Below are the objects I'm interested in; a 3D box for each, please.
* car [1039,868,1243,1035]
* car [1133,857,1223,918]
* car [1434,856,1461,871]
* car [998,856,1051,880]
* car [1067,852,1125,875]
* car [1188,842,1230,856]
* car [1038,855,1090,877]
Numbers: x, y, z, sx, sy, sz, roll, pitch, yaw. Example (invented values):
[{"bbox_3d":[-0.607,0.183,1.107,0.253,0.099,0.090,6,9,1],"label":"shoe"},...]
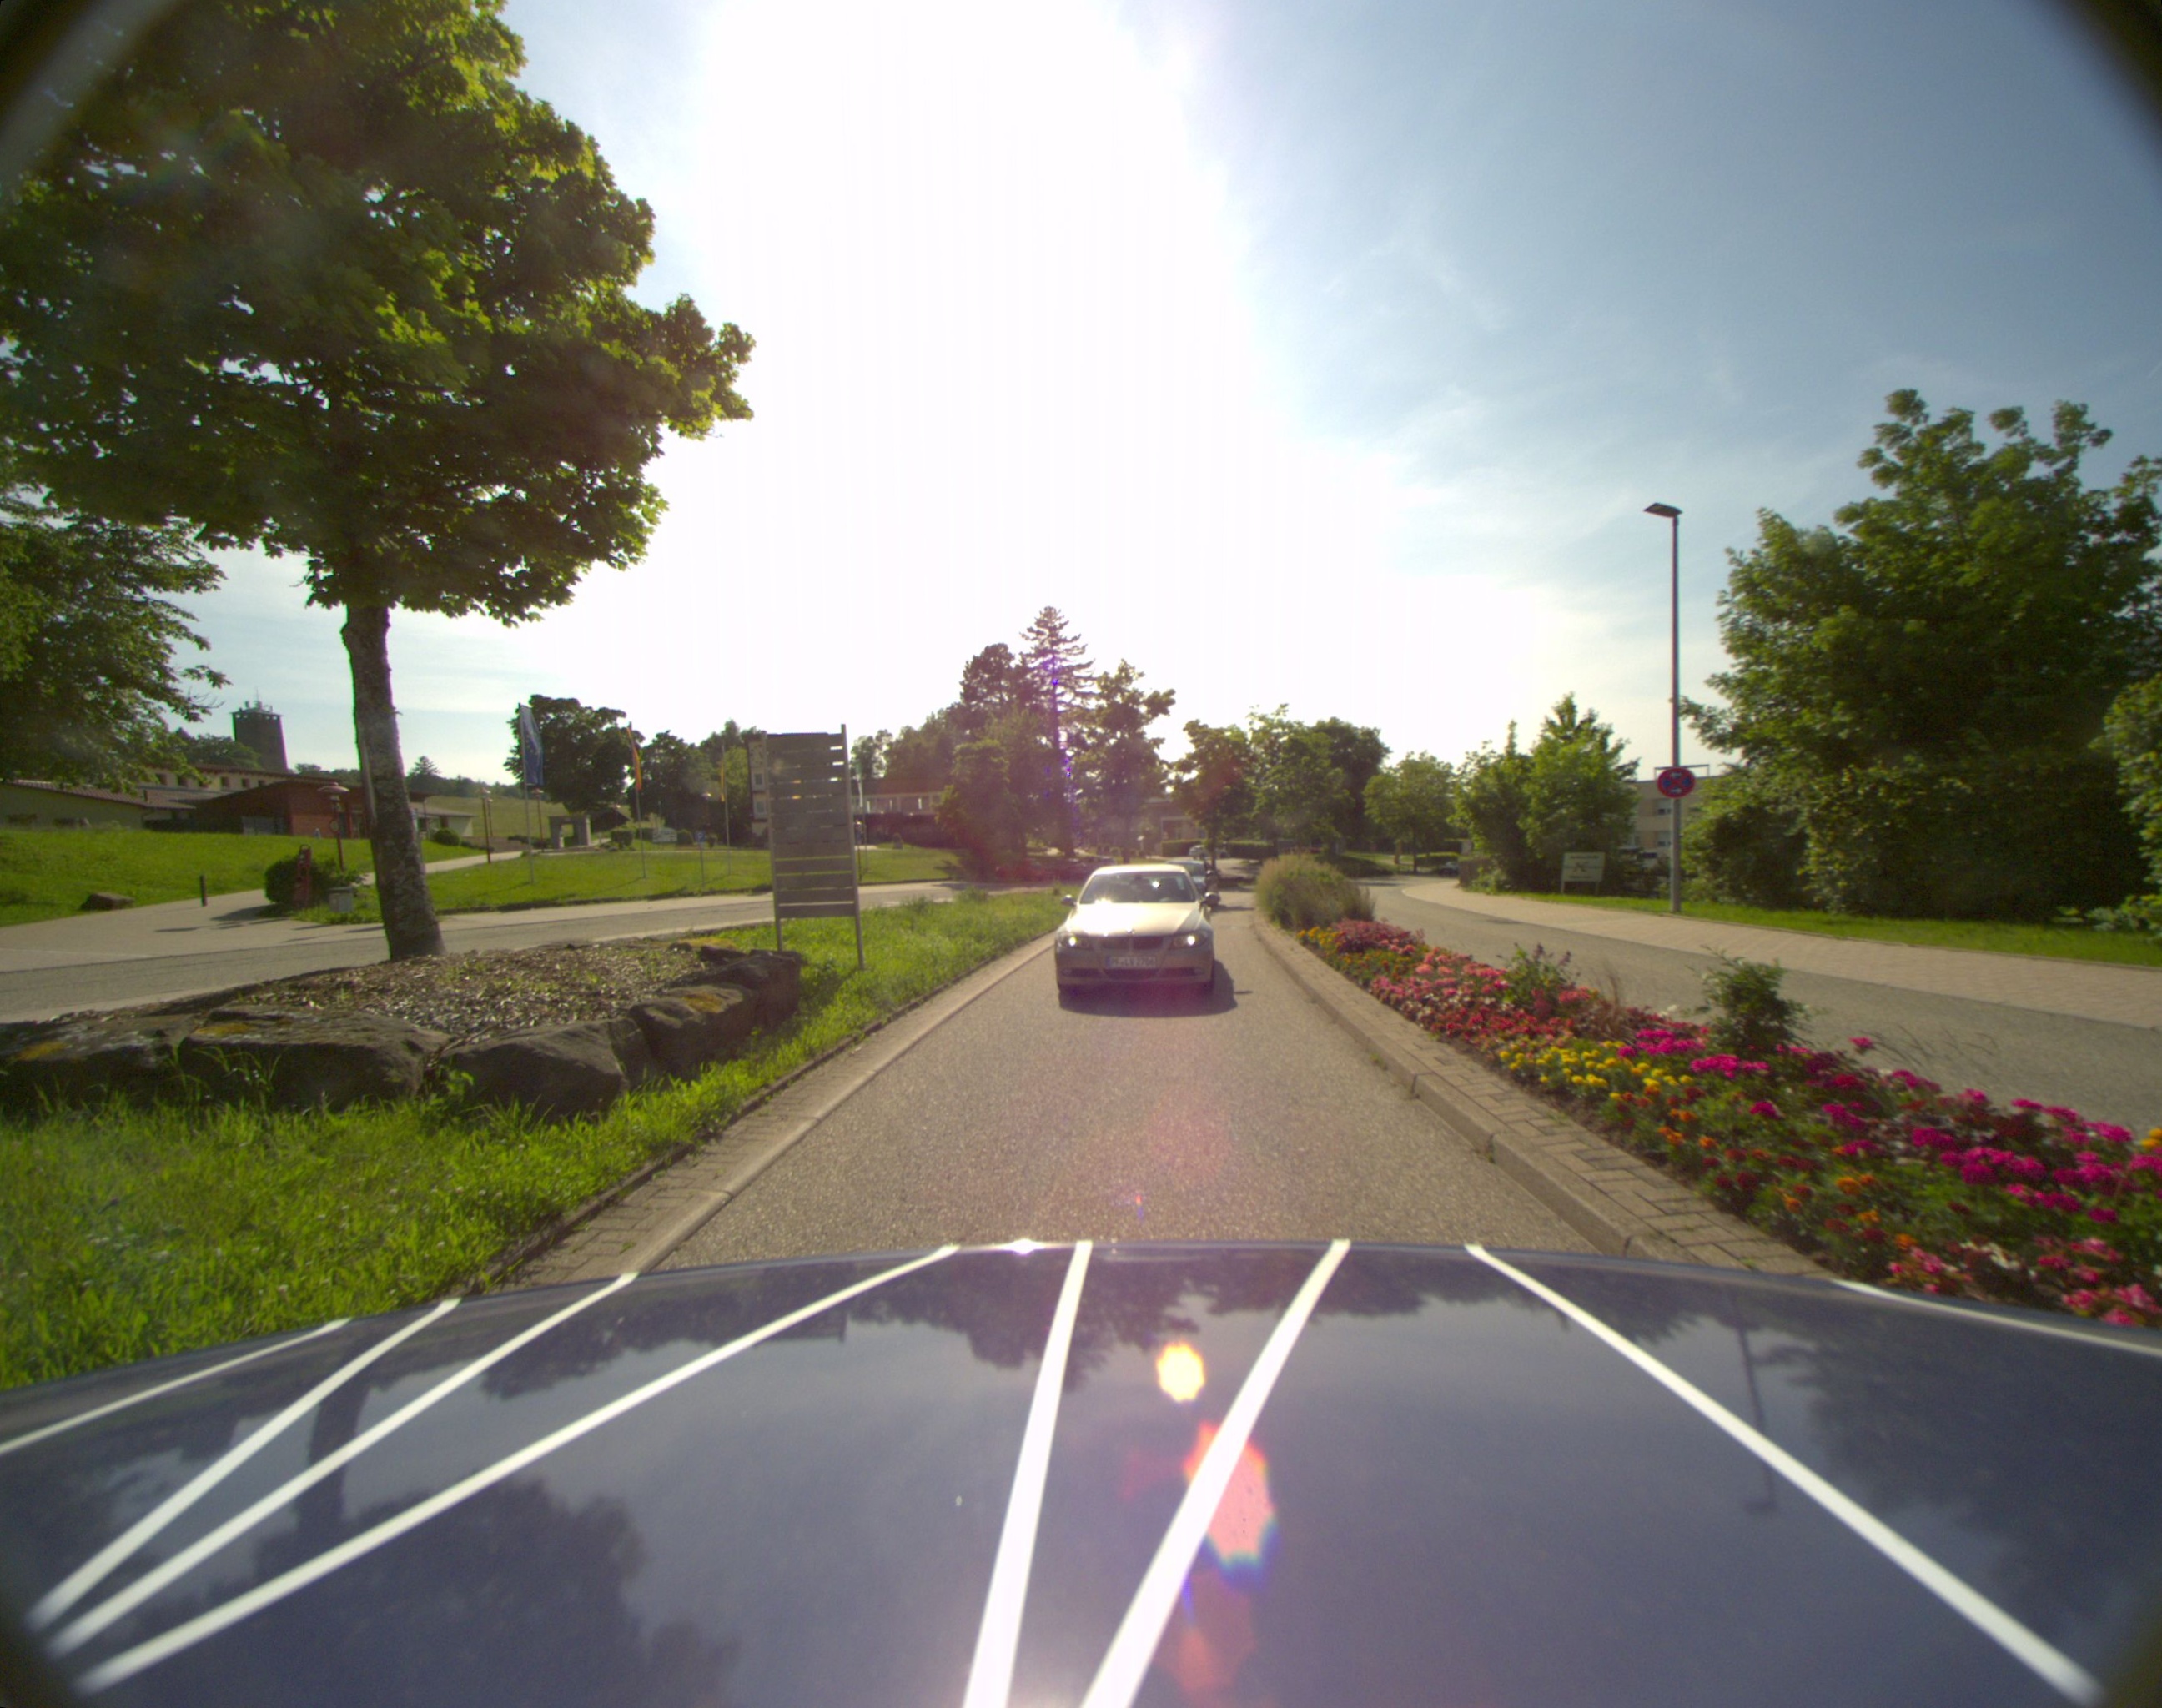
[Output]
[{"bbox_3d":[0.801,0.930,9.222,1.837,1.360,4.583,-1,1,7],"label":"car"},{"bbox_3d":[2.951,0.909,22.328,1.900,1.499,4.005,2,1,18],"label":"car"},{"bbox_3d":[33.506,0.860,69.482,1.475,1.357,2.808,1,1,42],"label":"car"},{"bbox_3d":[-3.876,0.933,51.795,3.302,1.396,1.717,2,3,37],"label":"car"},{"bbox_3d":[1.111,0.698,57.595,3.987,1.609,2.004,2,2,41],"label":"car"},{"bbox_3d":[14.664,-0.561,87.223,4.373,1.506,1.790,1,1,-20],"label":"car"},{"bbox_3d":[-1.233,0.840,54.125,3.528,1.419,1.689,2,2,41],"label":"car"}]
